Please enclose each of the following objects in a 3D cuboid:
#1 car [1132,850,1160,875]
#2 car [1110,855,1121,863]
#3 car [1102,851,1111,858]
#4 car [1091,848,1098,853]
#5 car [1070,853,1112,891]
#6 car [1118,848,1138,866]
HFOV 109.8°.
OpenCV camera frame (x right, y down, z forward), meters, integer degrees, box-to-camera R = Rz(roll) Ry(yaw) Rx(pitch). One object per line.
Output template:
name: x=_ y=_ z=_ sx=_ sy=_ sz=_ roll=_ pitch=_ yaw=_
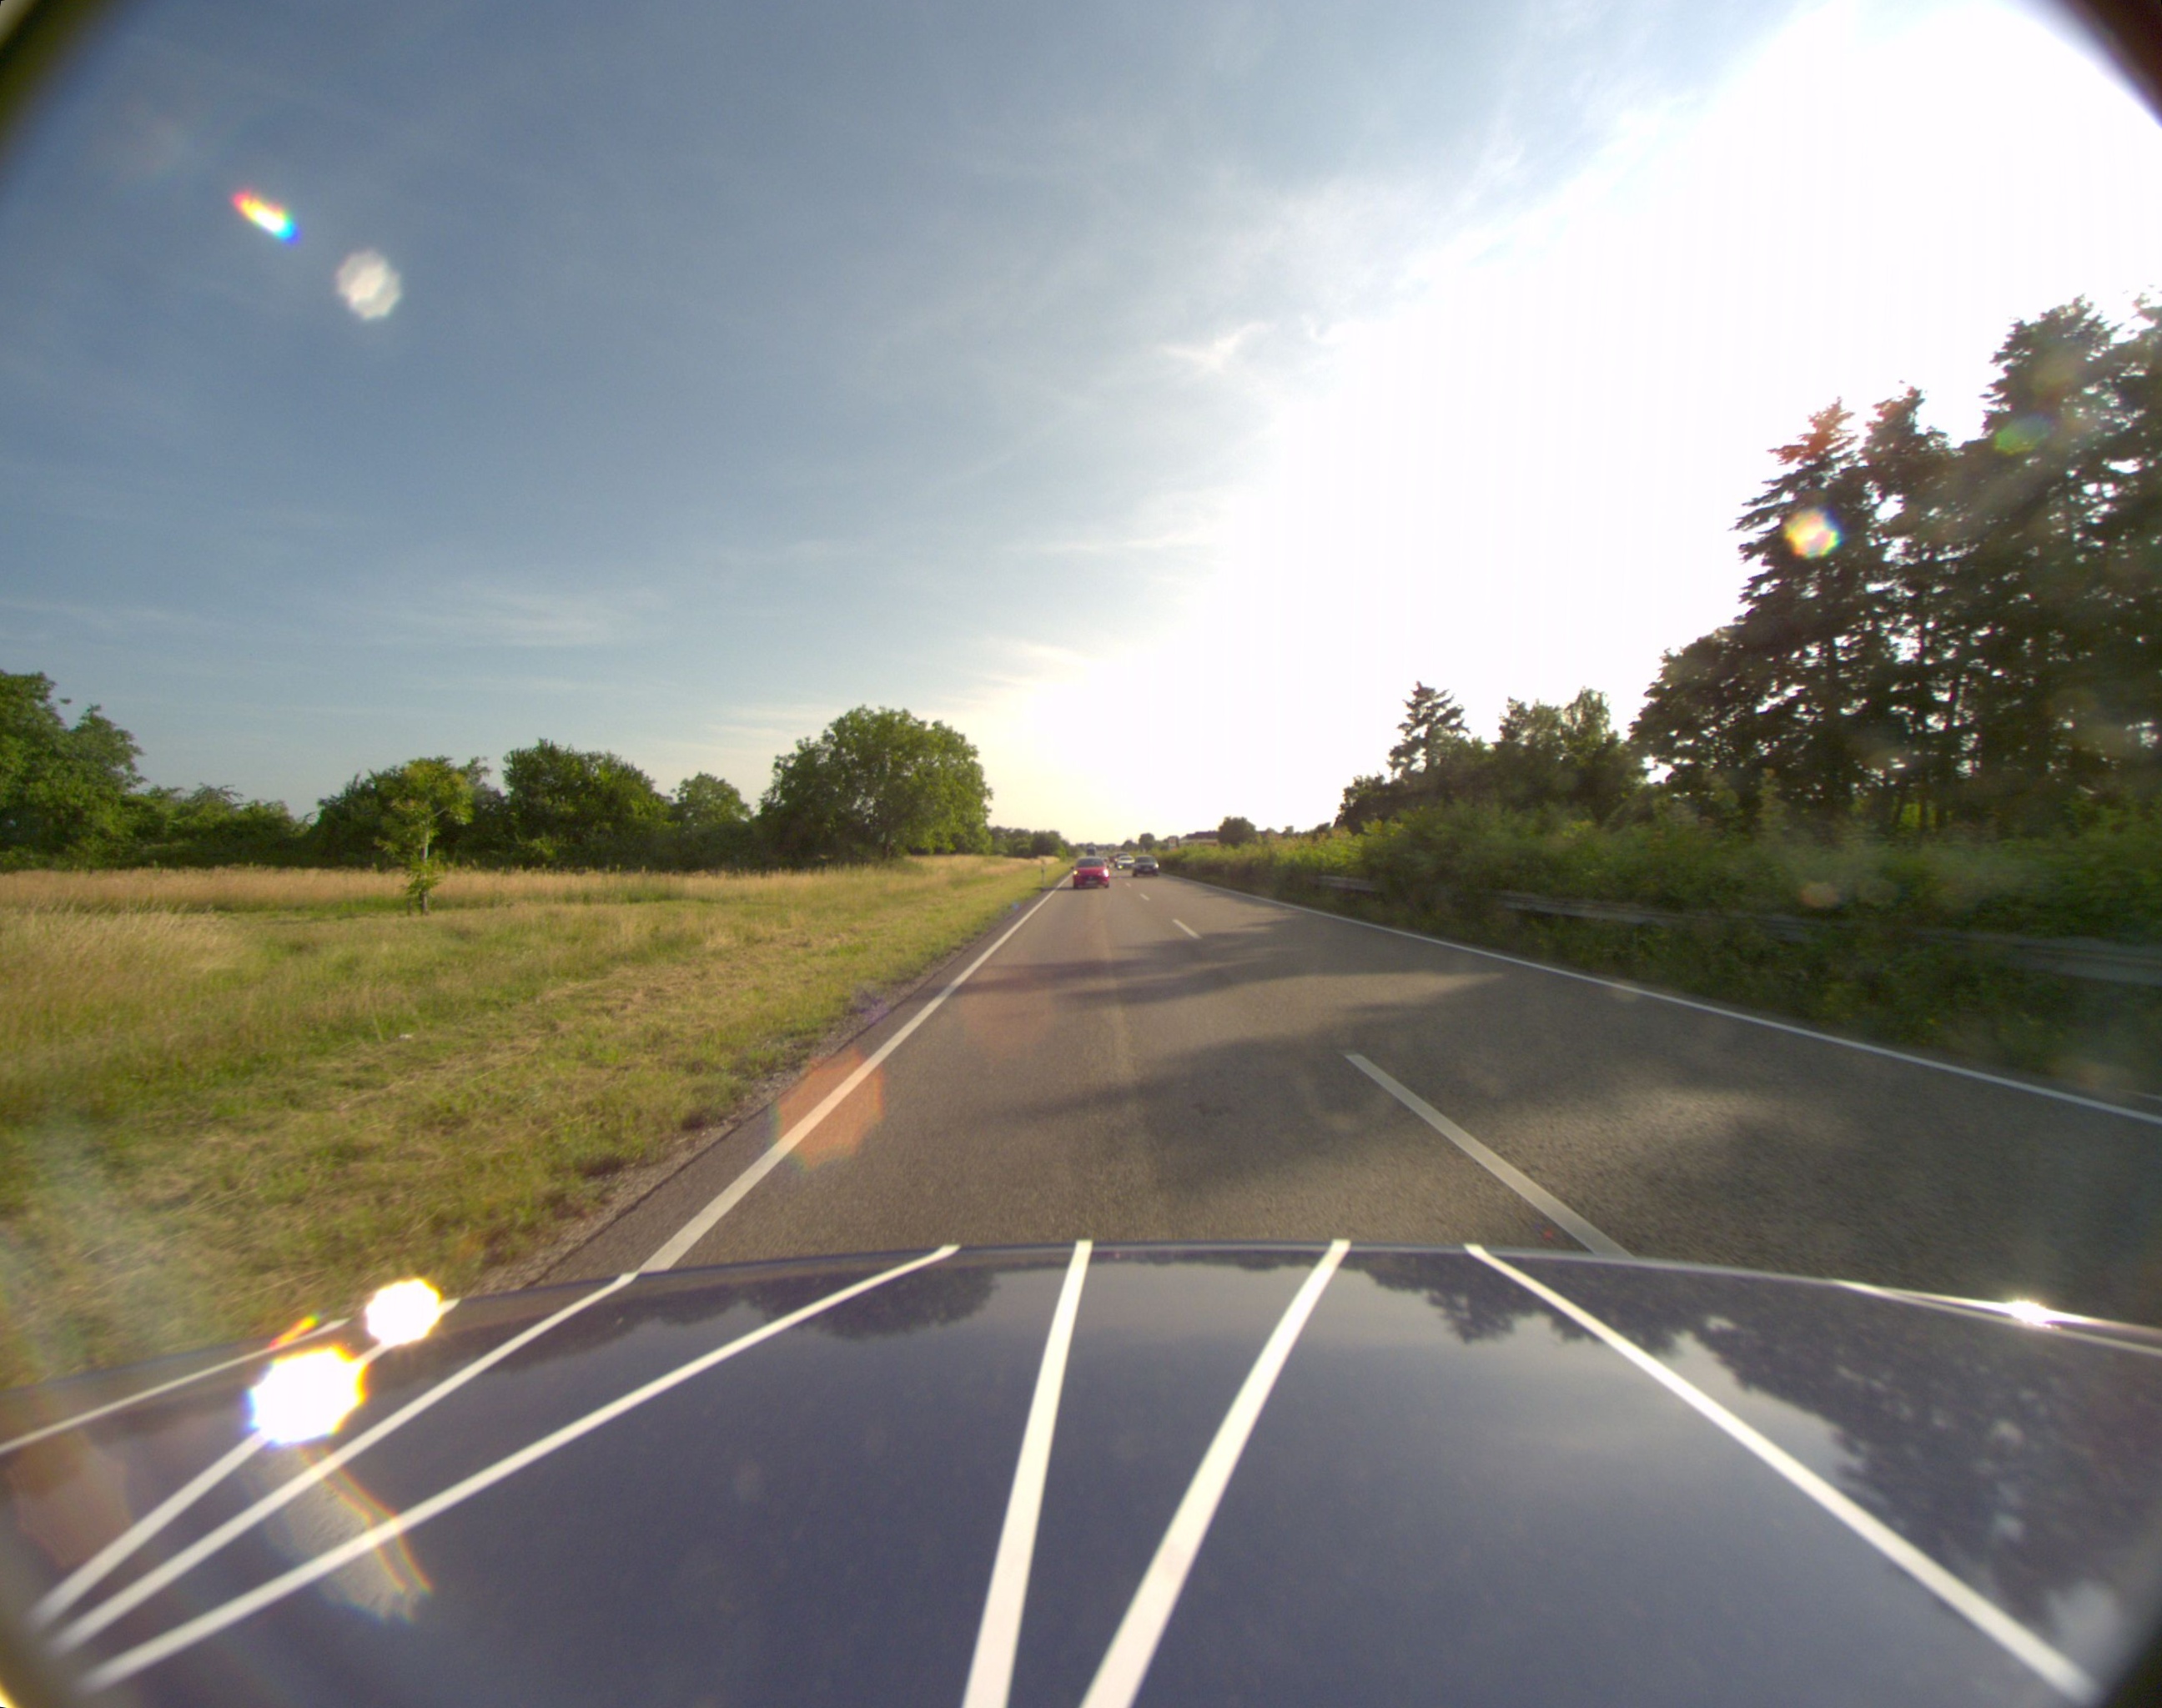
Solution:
car: x=4.549 y=0.564 z=53.460 sx=1.693 sy=1.695 sz=4.000 roll=-2 pitch=1 yaw=2
car: x=6.667 y=0.928 z=147.895 sx=1.998 sy=1.412 sz=4.000 roll=-2 pitch=1 yaw=2
car: x=5.878 y=0.089 z=177.455 sx=1.998 sy=1.412 sz=4.000 roll=-2 pitch=1 yaw=2
car: x=3.813 y=-0.924 z=213.204 sx=1.998 sy=1.412 sz=4.000 roll=-2 pitch=1 yaw=2
car: x=0.509 y=0.788 z=35.159 sx=1.821 sy=1.565 sz=4.000 roll=-2 pitch=1 yaw=2
car: x=4.958 y=0.301 z=80.299 sx=1.998 sy=1.762 sz=4.000 roll=-2 pitch=1 yaw=2
